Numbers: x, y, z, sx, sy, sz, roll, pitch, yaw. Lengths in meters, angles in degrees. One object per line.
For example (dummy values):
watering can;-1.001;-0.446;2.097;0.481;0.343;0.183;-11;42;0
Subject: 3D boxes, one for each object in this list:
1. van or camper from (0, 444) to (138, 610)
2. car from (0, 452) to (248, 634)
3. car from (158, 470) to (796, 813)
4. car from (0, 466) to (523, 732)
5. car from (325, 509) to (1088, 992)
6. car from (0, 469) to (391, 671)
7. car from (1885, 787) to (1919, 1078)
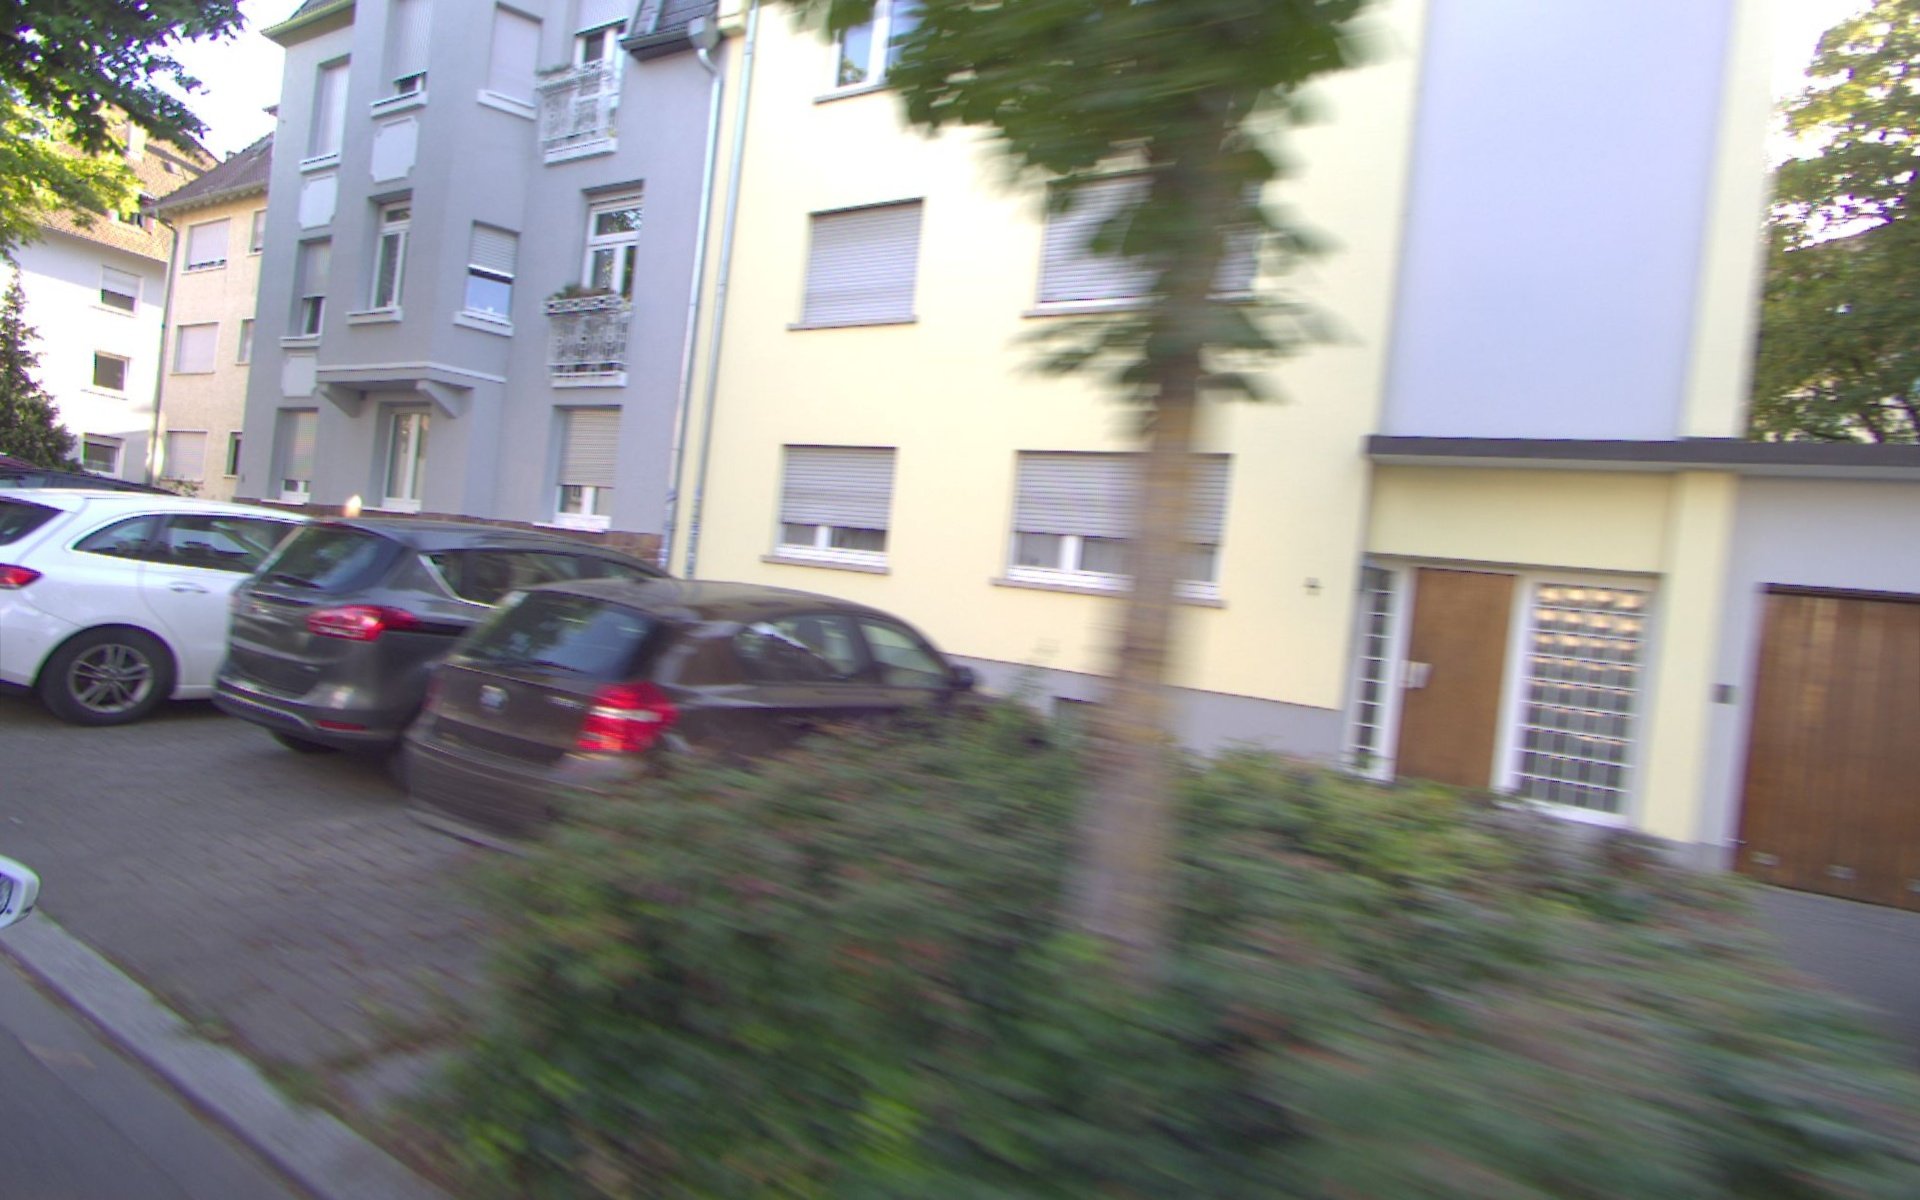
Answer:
van or camper;-13.771;-1.169;13.037;1.968;2.037;4.318;7;-1;34
car;-11.383;-0.782;11.642;1.921;1.858;4.634;7;-1;31
car;-3.008;0.274;6.994;1.696;1.674;3.553;7;0;30
car;-5.627;0.031;7.780;1.696;1.577;3.736;7;0;30
car;-0.947;0.618;5.596;1.696;1.577;3.930;7;0;31
car;-8.024;-0.249;9.869;1.713;1.586;3.823;7;-1;27
car;4.035;1.175;2.250;1.842;1.577;4.197;7;0;30
